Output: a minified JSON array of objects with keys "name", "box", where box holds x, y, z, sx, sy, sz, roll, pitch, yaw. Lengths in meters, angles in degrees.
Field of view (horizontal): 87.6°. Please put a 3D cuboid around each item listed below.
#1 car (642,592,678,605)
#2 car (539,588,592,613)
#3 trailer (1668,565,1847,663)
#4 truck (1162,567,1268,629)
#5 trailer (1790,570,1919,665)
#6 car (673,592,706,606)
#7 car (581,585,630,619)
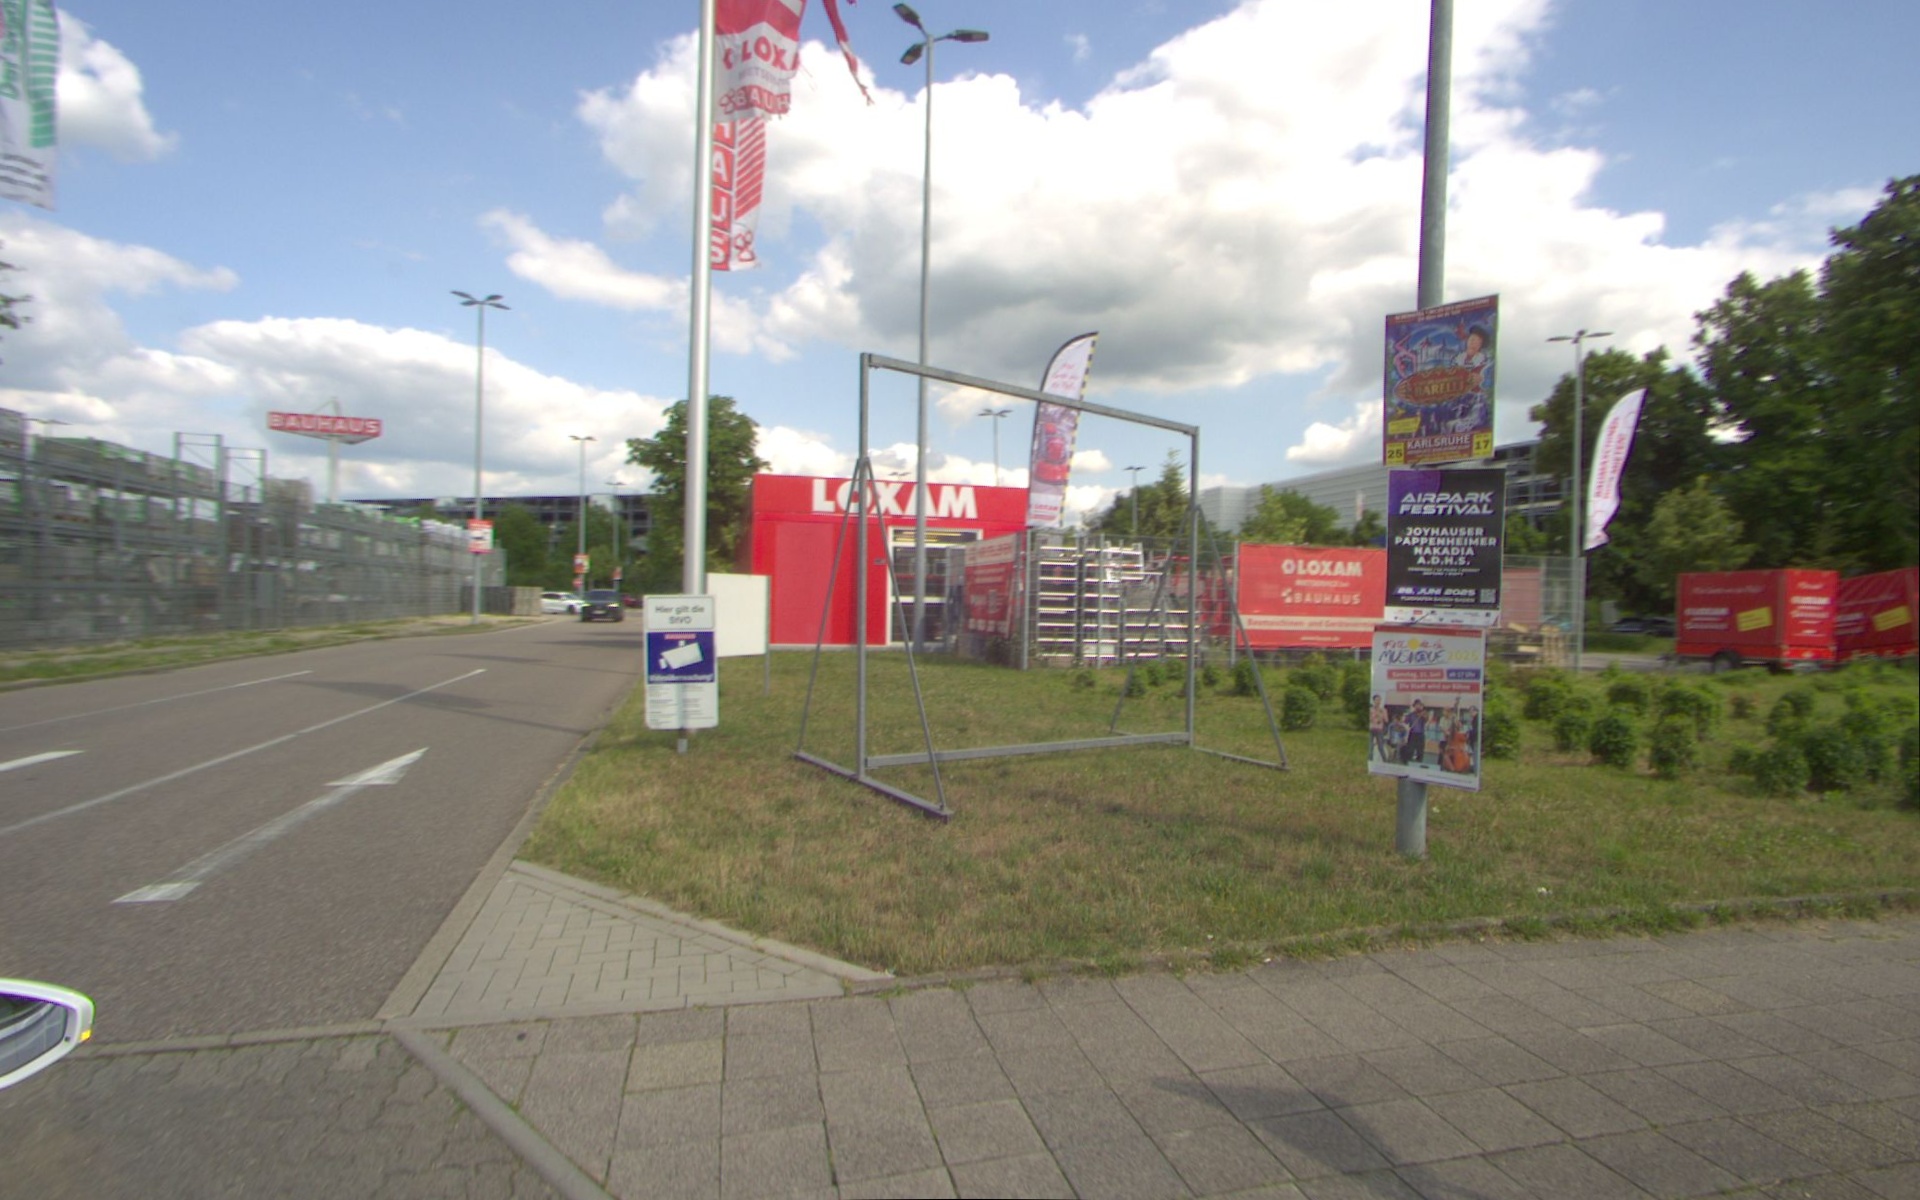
[{"name":"car","box":[-33.421,-0.159,111.698,1.703,1.429,4.234,1,0,20]},{"name":"car","box":[-25.816,0.042,65.595,2.838,1.535,1.533,1,1,5]},{"name":"trailer","box":[17.780,0.293,22.465,1.472,2.040,2.792,1,0,-12]},{"name":"truck","box":[15.914,-0.166,63.405,2.680,3.647,9.023,0,1,-13]},{"name":"trailer","box":[20.924,0.375,22.750,1.474,2.040,2.789,1,0,-16]},{"name":"car","box":[-29.650,-0.094,109.863,1.642,1.430,3.546,1,0,24]},{"name":"car","box":[-18.032,0.053,51.130,1.886,1.640,4.366,1,1,-13]}]
